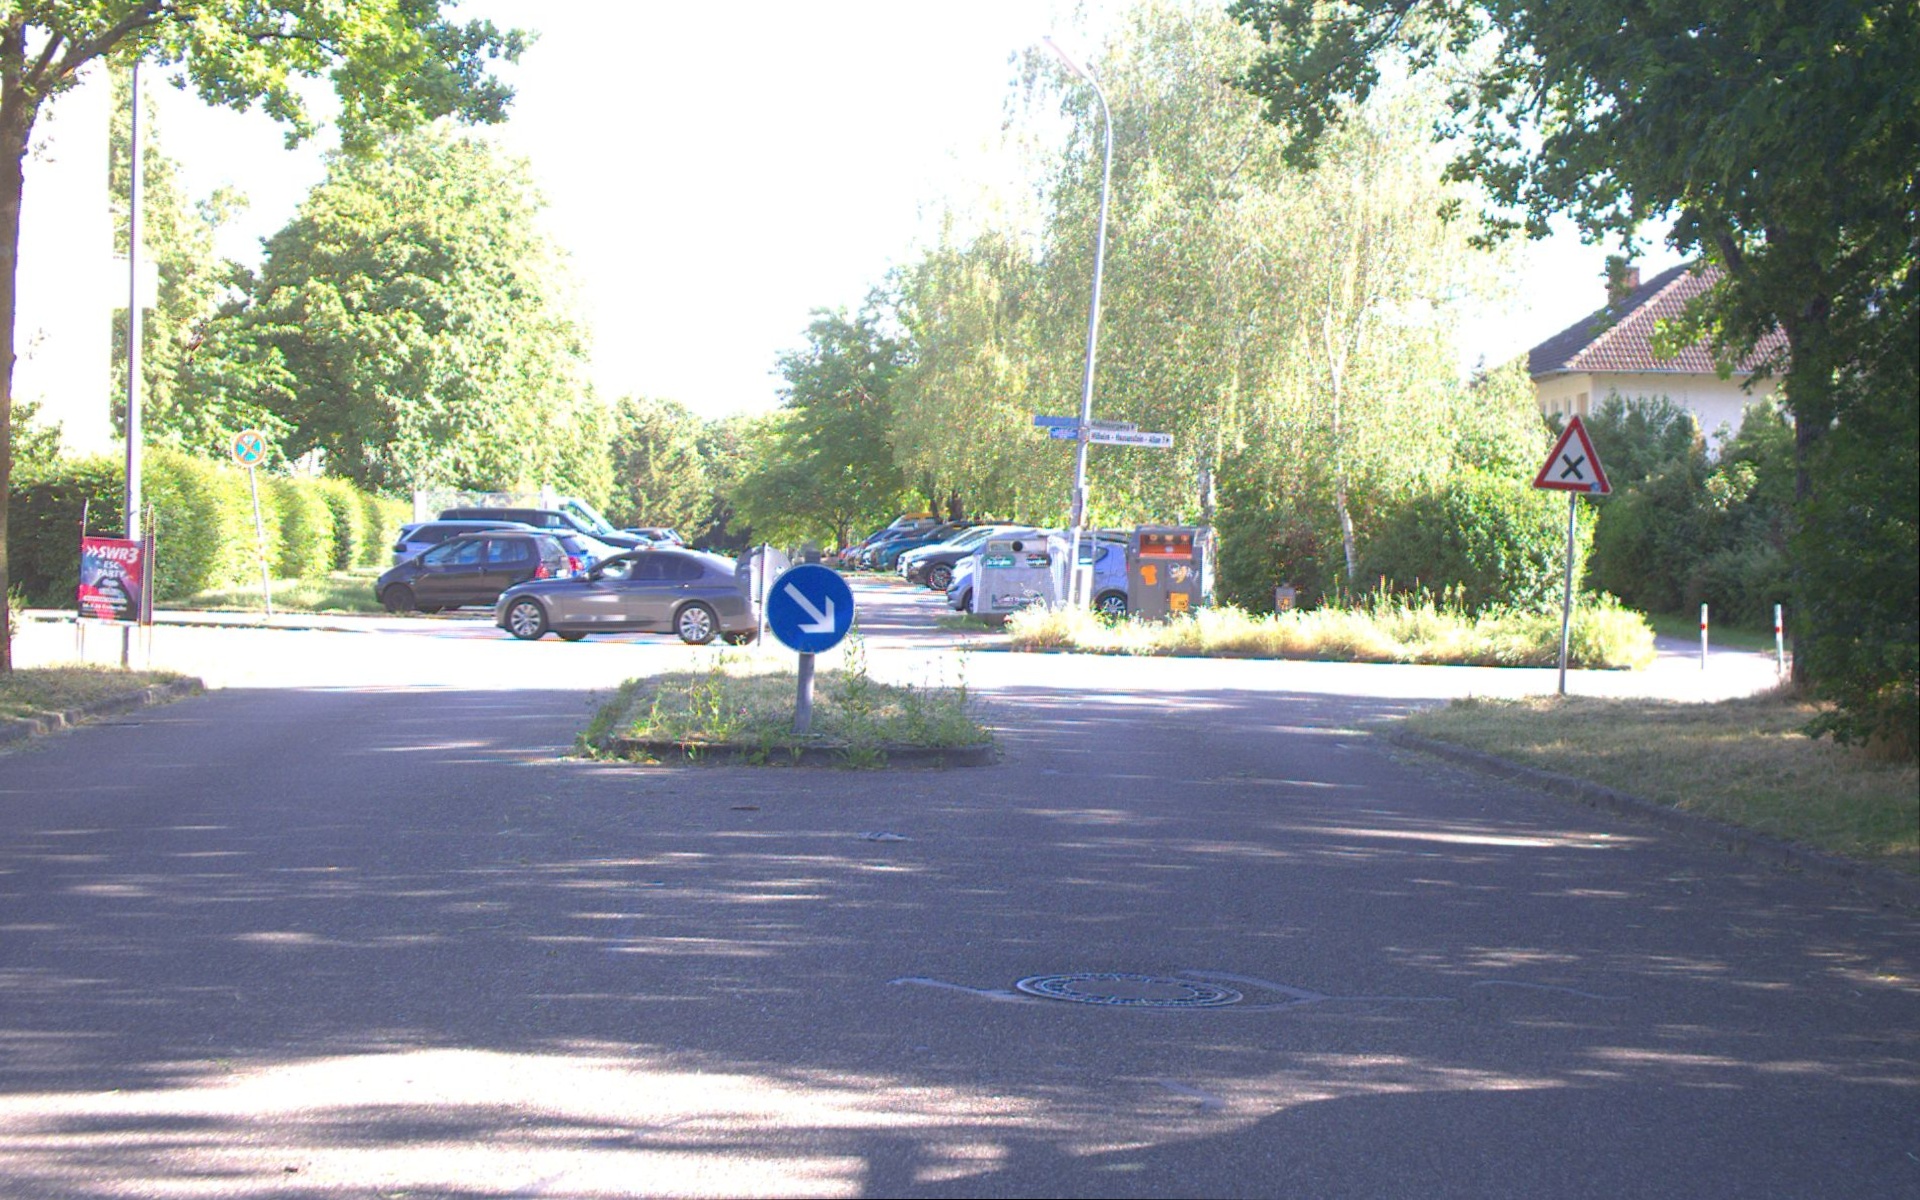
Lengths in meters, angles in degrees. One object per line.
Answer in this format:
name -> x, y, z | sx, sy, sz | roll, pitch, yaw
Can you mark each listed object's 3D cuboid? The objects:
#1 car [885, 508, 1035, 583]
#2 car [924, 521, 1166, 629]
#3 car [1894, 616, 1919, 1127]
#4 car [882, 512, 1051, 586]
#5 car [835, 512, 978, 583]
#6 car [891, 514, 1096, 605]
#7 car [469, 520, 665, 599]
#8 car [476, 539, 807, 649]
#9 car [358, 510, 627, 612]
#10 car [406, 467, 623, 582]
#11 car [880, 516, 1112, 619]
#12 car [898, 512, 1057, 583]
car -> 0.023, -1.457, 91.382 | 3.839, 1.789, 1.688 | 3, 1, 2
car -> 1.428, -0.428, 56.651 | 3.839, 1.571, 1.688 | 3, 1, 4
car -> 3.741, 0.627, 7.304 | 1.790, 1.779, 4.558 | 3, 1, -6
car -> 0.176, -1.213, 82.051 | 3.839, 1.571, 1.688 | 3, 1, 4
car -> -1.493, -1.483, 96.268 | 3.839, 1.789, 1.688 | 3, 1, 2
car -> 0.682, -0.802, 67.257 | 3.839, 1.571, 1.688 | 3, 1, 4
car -> -8.789, -0.917, 77.120 | 4.106, 1.571, 1.958 | 3, 1, 0
car -> -4.844, -0.106, 52.435 | 4.546, 1.429, 2.044 | 3, 1, 18
car -> -8.238, -0.690, 60.823 | 4.319, 1.571, 2.046 | 3, 1, 4
car -> -11.123, -1.884, 85.972 | 5.198, 2.612, 2.294 | 3, 1, -7
car -> 0.646, -0.564, 59.447 | 3.839, 1.571, 1.688 | 3, 1, 4
car -> 0.451, -1.304, 85.192 | 3.839, 1.571, 1.688 | 3, 1, 2
